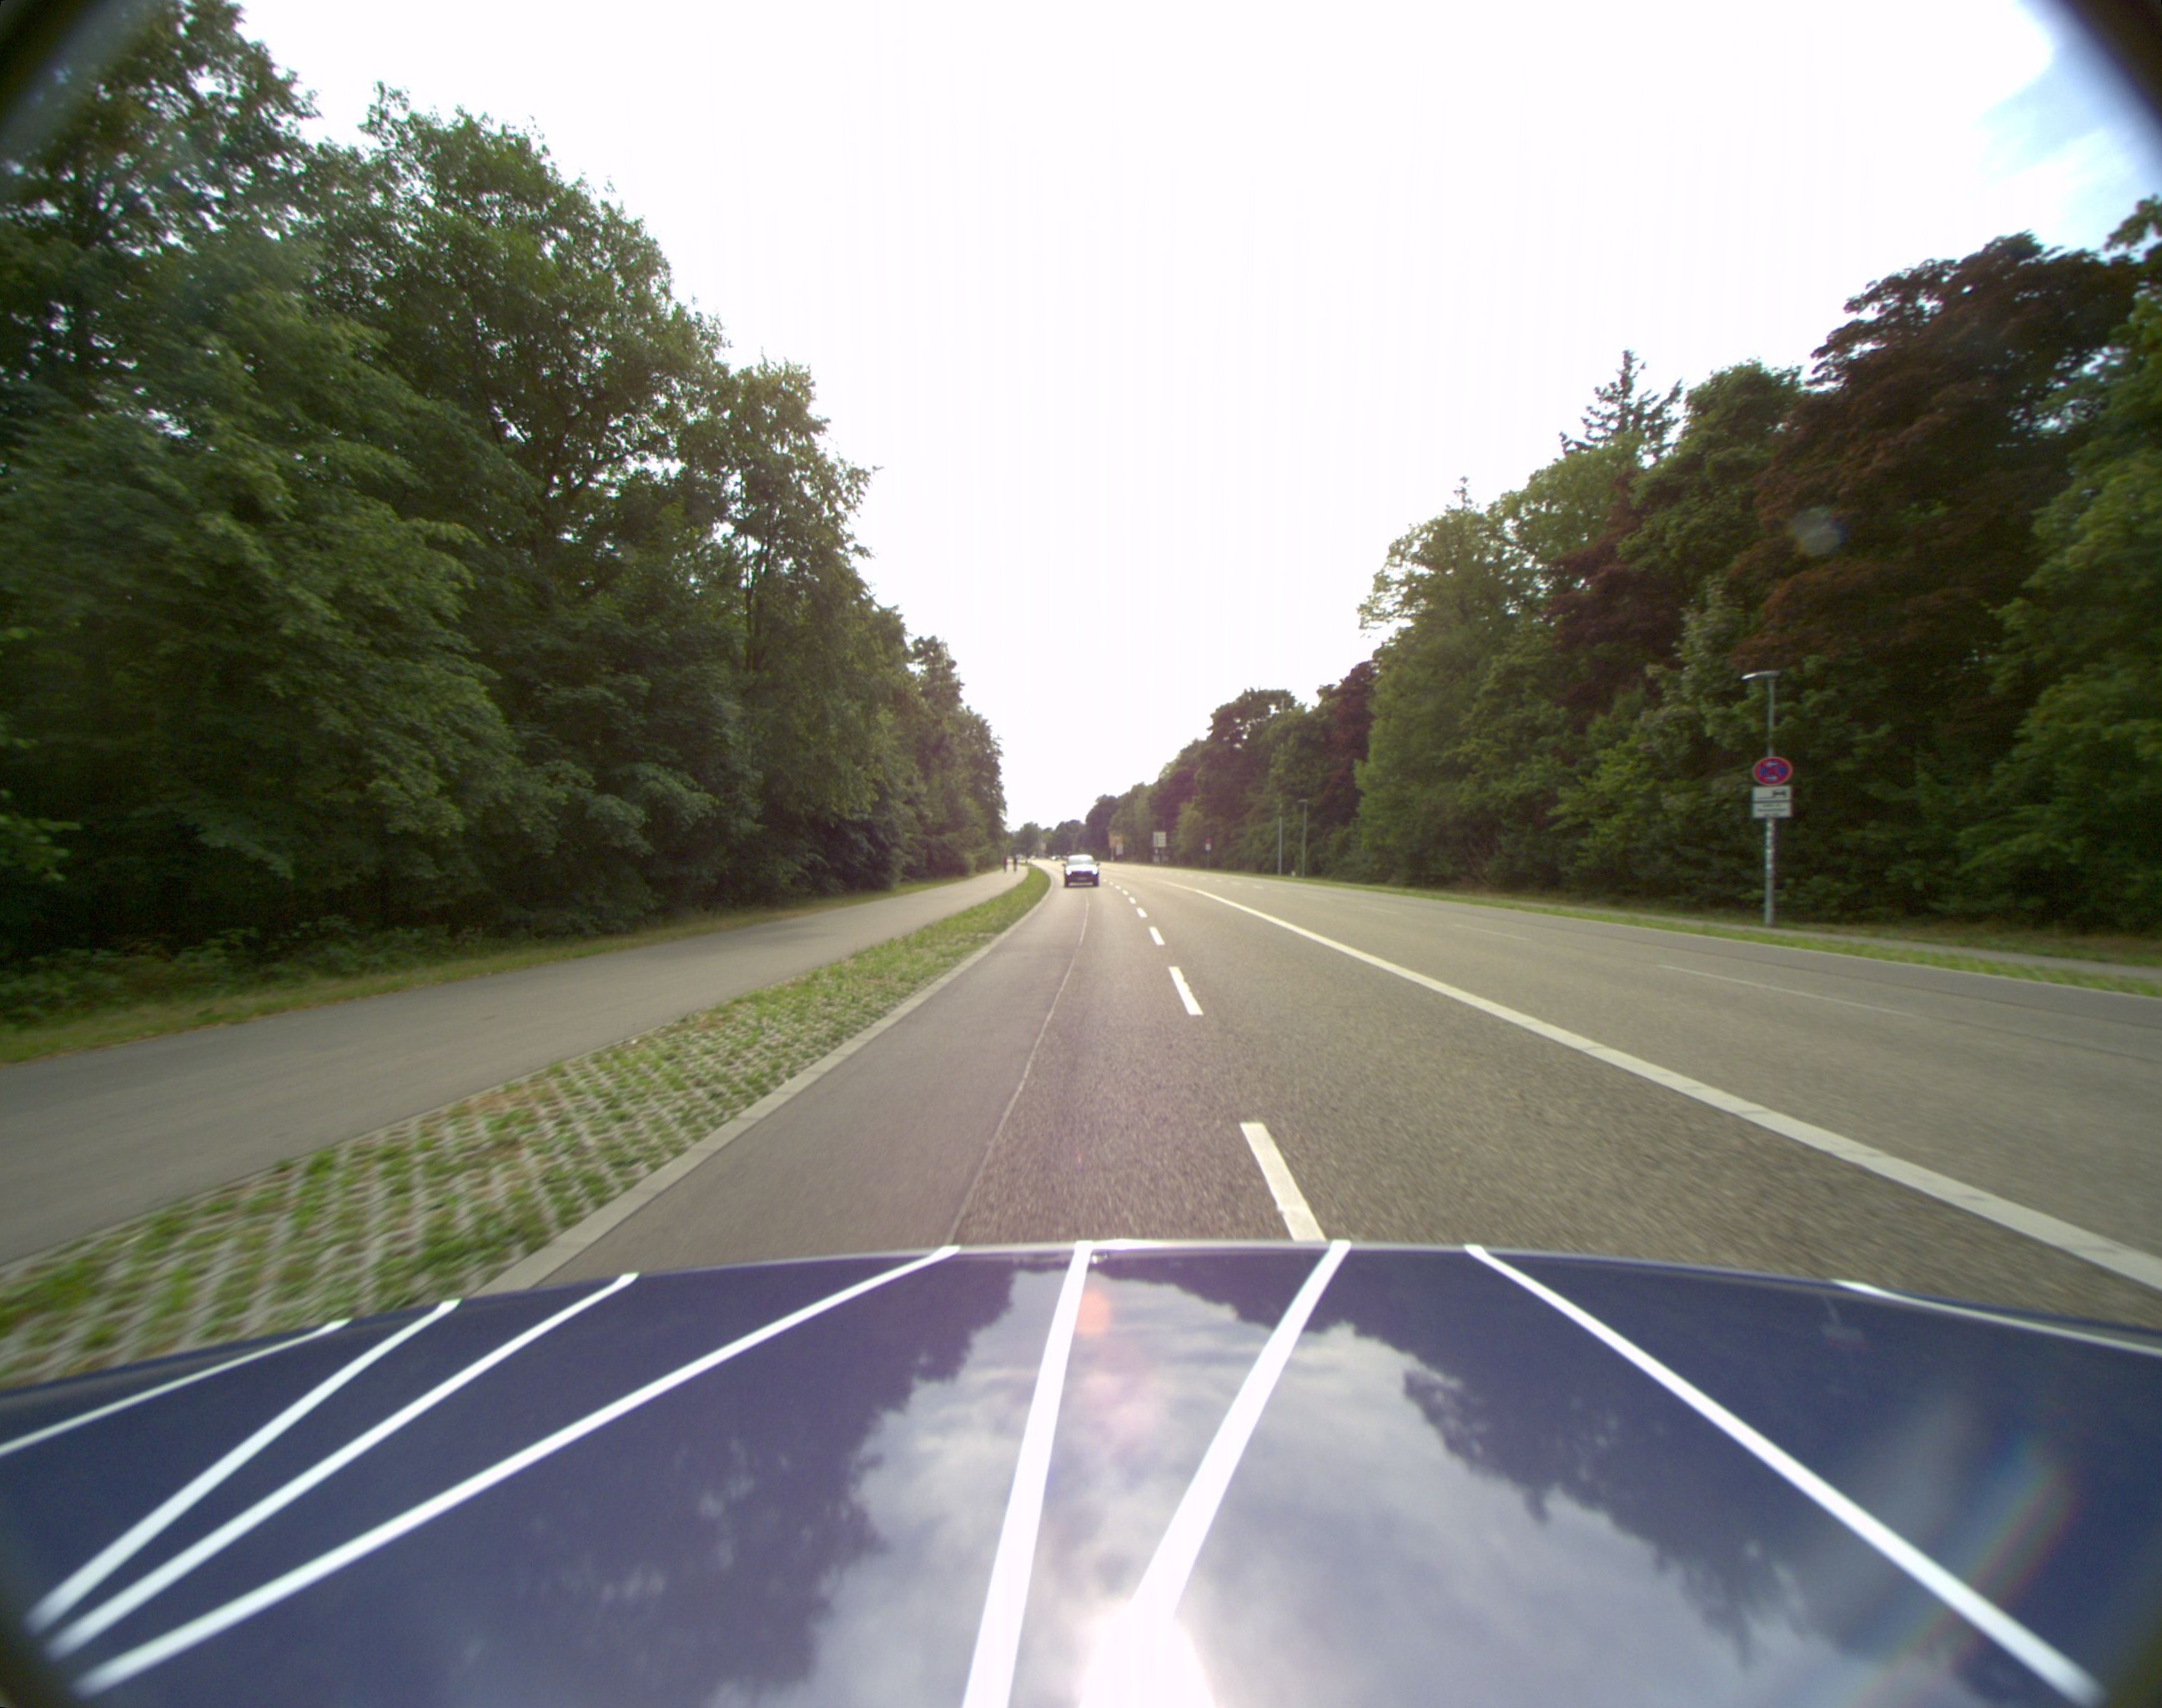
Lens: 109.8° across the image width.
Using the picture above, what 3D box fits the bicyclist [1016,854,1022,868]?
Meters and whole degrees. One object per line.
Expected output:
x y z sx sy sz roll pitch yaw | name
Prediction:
-6.271 0.708 76.841 0.521 1.407 1.186 0 1 -6 | bicyclist

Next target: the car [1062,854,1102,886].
0.015 0.837 41.604 1.999 1.565 3.999 -3 1 -1 | car

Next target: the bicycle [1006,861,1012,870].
-7.285 1.174 76.763 0.567 0.906 1.886 2 -1 -6 | bicycle

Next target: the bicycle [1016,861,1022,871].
-6.264 1.193 76.939 0.567 0.906 1.753 2 0 -6 | bicycle

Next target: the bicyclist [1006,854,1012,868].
-7.283 0.703 76.806 0.521 1.407 1.186 -2 1 -6 | bicyclist
